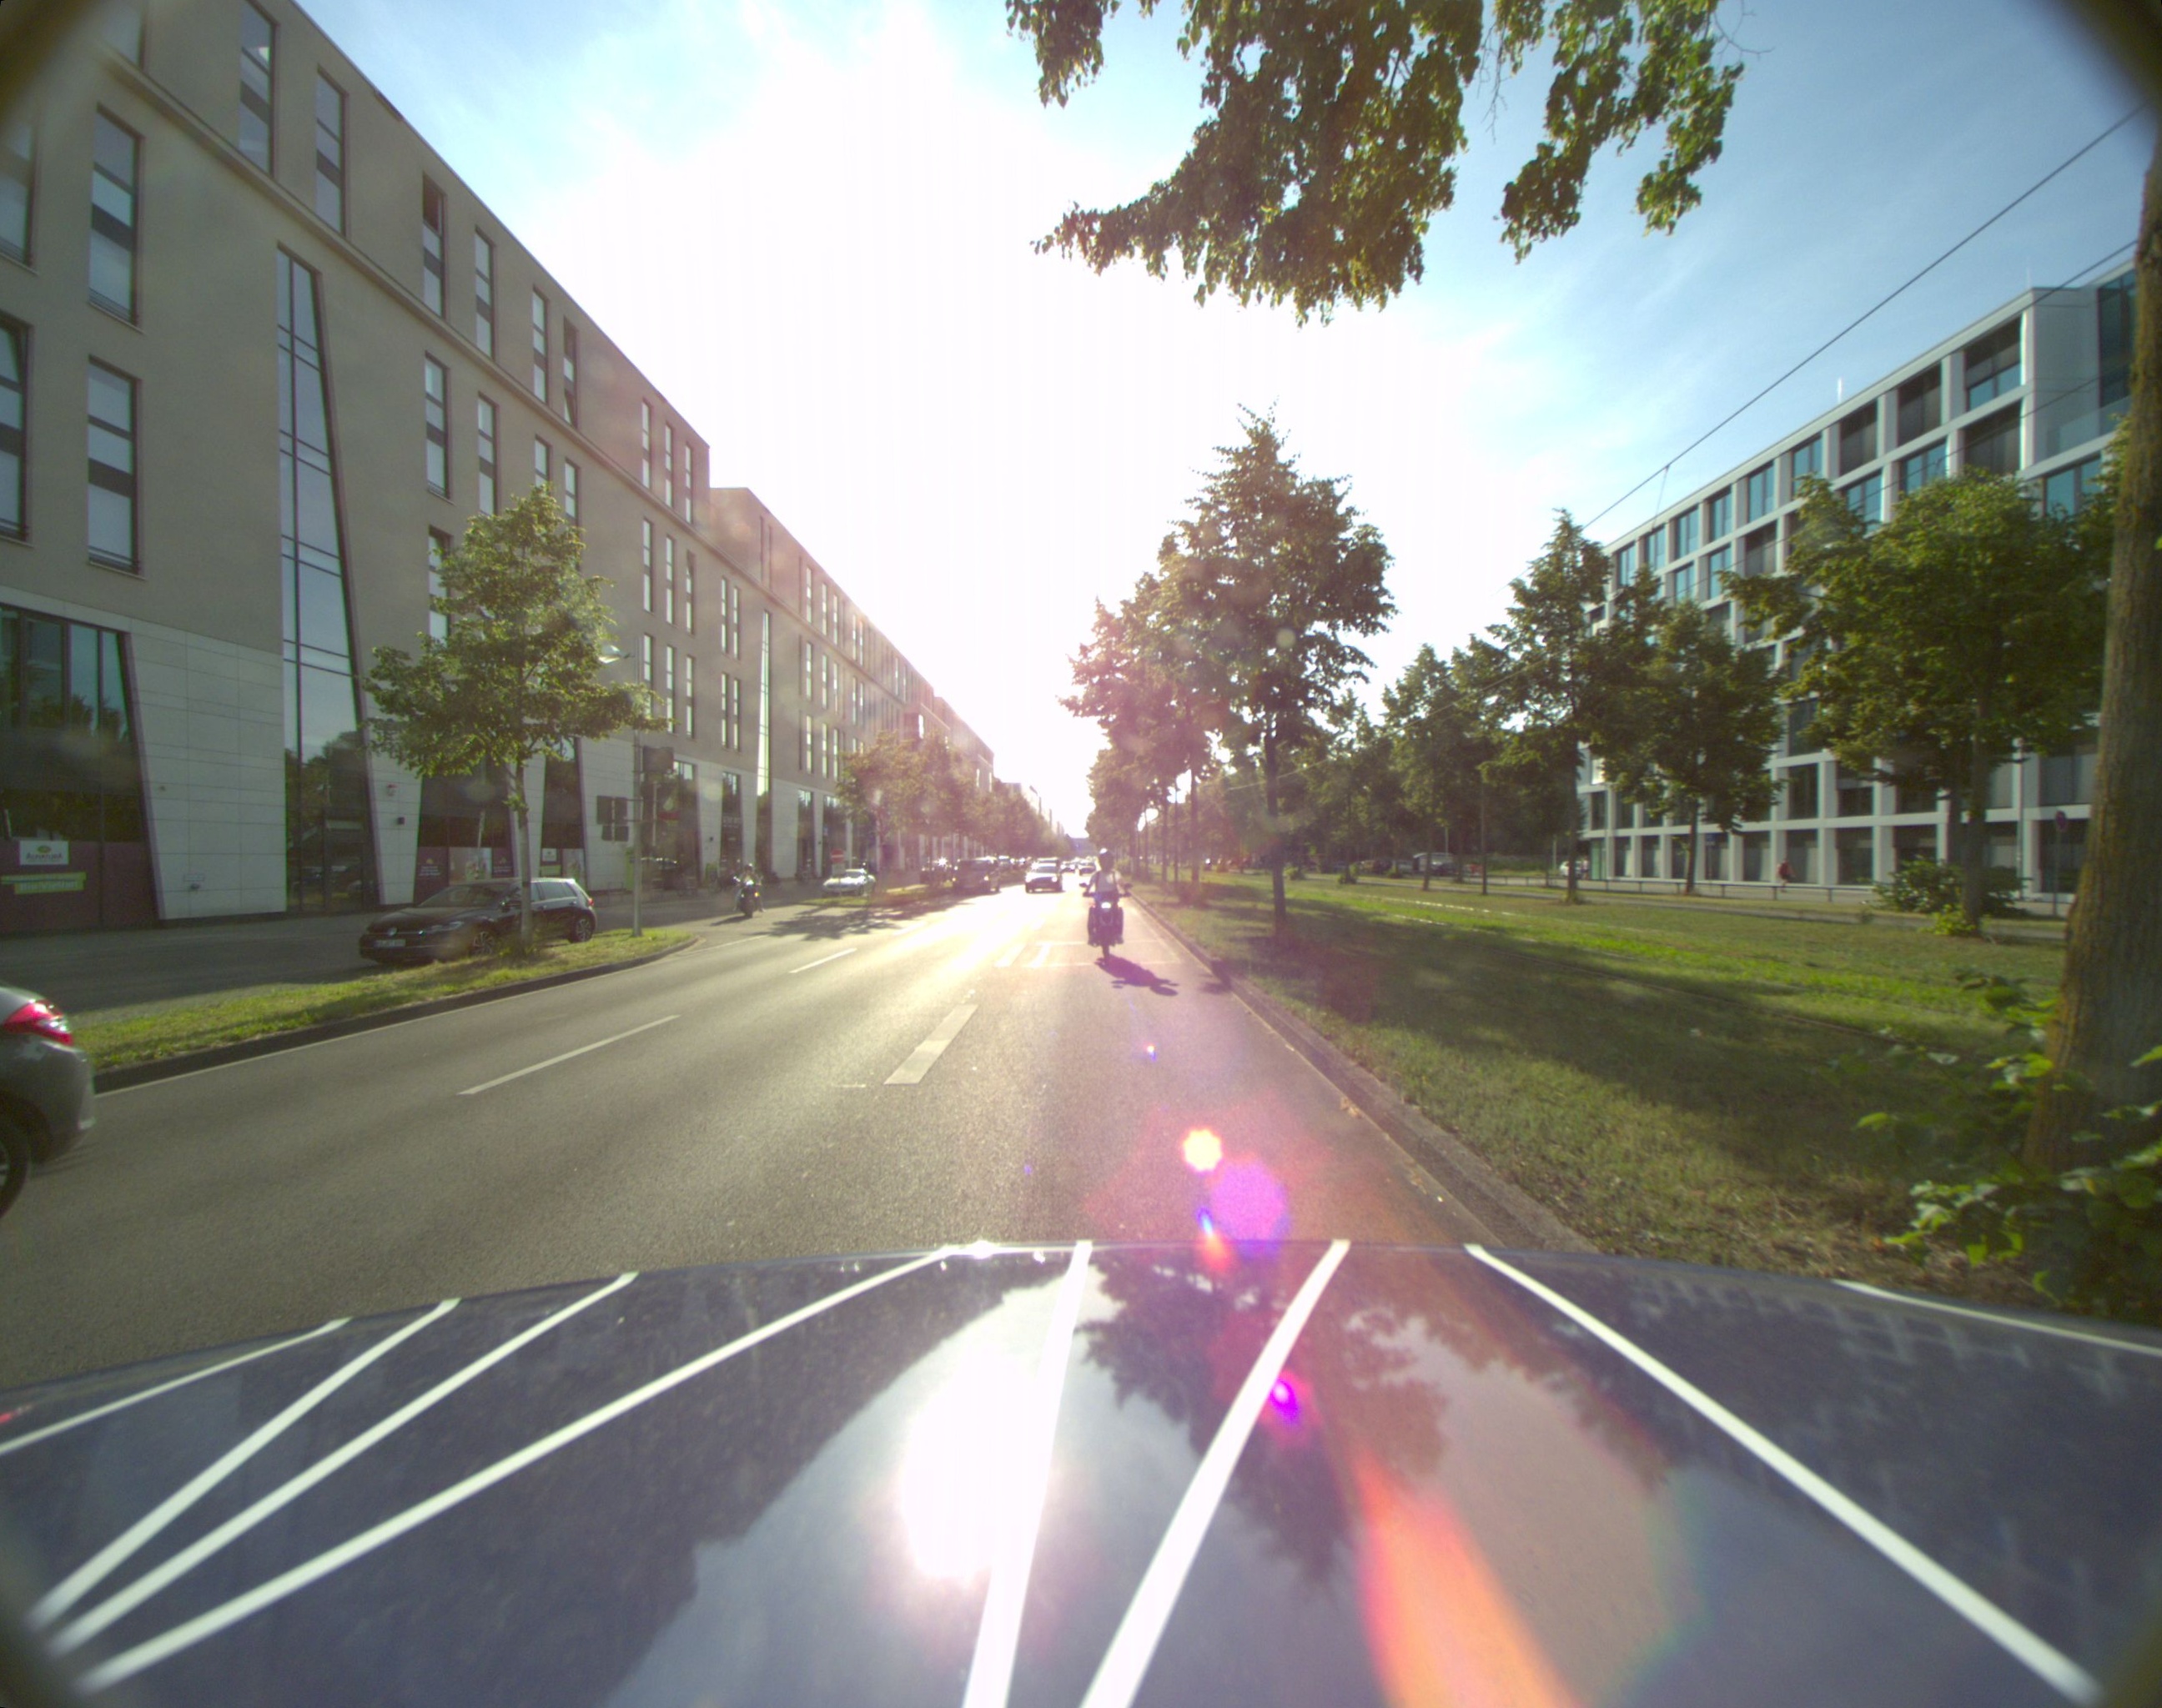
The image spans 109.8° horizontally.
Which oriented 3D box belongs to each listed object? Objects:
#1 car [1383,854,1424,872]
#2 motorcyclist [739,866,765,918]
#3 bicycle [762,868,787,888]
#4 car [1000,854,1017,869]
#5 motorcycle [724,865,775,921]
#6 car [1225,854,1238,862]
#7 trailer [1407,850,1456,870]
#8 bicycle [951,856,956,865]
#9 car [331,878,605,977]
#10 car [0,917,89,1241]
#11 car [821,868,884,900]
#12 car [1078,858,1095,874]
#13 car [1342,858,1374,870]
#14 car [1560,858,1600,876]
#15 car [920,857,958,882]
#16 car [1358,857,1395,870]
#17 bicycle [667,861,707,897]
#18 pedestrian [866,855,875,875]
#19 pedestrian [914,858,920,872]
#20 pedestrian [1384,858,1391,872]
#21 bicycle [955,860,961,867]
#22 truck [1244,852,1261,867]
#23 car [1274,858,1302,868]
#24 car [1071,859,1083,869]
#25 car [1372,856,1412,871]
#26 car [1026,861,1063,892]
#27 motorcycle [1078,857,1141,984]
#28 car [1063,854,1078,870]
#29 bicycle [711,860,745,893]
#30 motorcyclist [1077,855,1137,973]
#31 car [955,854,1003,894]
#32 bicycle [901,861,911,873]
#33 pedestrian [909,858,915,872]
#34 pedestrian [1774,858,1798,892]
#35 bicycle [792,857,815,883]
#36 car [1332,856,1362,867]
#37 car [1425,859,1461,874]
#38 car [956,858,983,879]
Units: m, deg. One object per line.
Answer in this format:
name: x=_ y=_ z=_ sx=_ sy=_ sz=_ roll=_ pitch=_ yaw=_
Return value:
car: x=36.976 y=1.040 z=87.211 sx=4.002 sy=1.936 sz=1.758 roll=-2 pitch=1 yaw=2
motorcyclist: x=-10.515 y=1.199 z=24.281 sx=0.625 sy=1.631 sz=0.417 roll=0 pitch=1 yaw=-3
bicycle: x=-17.768 y=1.390 z=44.107 sx=0.635 sy=1.077 sz=1.904 roll=0 pitch=0 yaw=2
car: x=-9.489 y=0.940 z=100.052 sx=1.842 sy=1.865 sz=5.030 roll=-2 pitch=1 yaw=-1
motorcycle: x=-10.453 y=1.194 z=24.064 sx=0.703 sy=1.608 sz=2.011 roll=-2 pitch=1 yaw=-1
car: x=29.540 y=0.780 z=149.251 sx=1.834 sy=1.423 sz=4.475 roll=-2 pitch=1 yaw=2
trailer: x=37.588 y=0.648 z=81.466 sx=4.373 sy=2.042 sz=1.758 roll=-2 pitch=1 yaw=4
bicycle: x=-16.689 y=0.851 z=99.470 sx=0.345 sy=1.075 sz=1.732 roll=3 pitch=1 yaw=2
car: x=-11.132 y=1.249 z=14.257 sx=1.610 sy=1.362 sz=4.157 roll=-2 pitch=1 yaw=2
car: x=-5.640 y=1.058 z=1.632 sx=1.699 sy=1.416 sz=4.038 roll=-2 pitch=1 yaw=-1
car: x=-10.635 y=1.358 z=35.569 sx=1.712 sy=1.235 sz=3.905 roll=-2 pitch=1 yaw=0
car: x=0.587 y=1.201 z=79.749 sx=1.739 sy=1.499 sz=4.000 roll=-2 pitch=1 yaw=1
car: x=37.415 y=1.348 z=102.810 sx=3.655 sy=1.420 sz=1.810 roll=-2 pitch=1 yaw=3
car: x=47.678 y=1.208 z=72.632 sx=1.851 sy=1.586 sz=4.003 roll=-2 pitch=1 yaw=12
car: x=-10.377 y=1.119 z=55.924 sx=1.902 sy=1.698 sz=4.678 roll=-2 pitch=0 yaw=-1
car: x=37.934 y=1.241 z=97.614 sx=3.996 sy=1.551 sz=1.856 roll=-2 pitch=1 yaw=3
bicycle: x=-18.106 y=1.117 z=34.973 sx=0.557 sy=1.562 sz=2.276 roll=-2 pitch=1 yaw=2
pedestrian: x=-18.539 y=0.954 z=66.947 sx=0.538 sy=1.752 sz=0.646 roll=-2 pitch=1 yaw=1
pedestrian: x=-18.726 y=1.275 z=86.748 sx=0.540 sy=1.565 sz=0.514 roll=-2 pitch=1 yaw=-14
pedestrian: x=35.313 y=1.265 z=87.555 sx=0.523 sy=1.472 sz=0.568 roll=-2 pitch=1 yaw=0
bicycle: x=-16.725 y=1.273 z=103.140 sx=0.419 sy=0.995 sz=2.044 roll=3 pitch=1 yaw=2
truck: x=40.768 y=1.264 z=181.273 sx=2.894 sy=3.495 sz=7.946 roll=-2 pitch=1 yaw=6
car: x=31.205 y=1.407 z=114.556 sx=1.690 sy=1.427 sz=4.025 roll=-3 pitch=1 yaw=-33
car: x=-0.672 y=1.730 z=126.792 sx=1.840 sy=1.521 sz=4.328 roll=-2 pitch=1 yaw=1
car: x=37.009 y=1.129 z=90.360 sx=4.002 sy=1.633 sz=1.758 roll=-2 pitch=1 yaw=2
car: x=-1.891 y=1.154 z=39.845 sx=1.756 sy=1.427 sz=4.034 roll=-2 pitch=1 yaw=-2
motorcycle: x=0.382 y=0.898 z=11.575 sx=0.798 sy=1.659 sz=2.634 roll=-2 pitch=1 yaw=0
car: x=-1.235 y=0.981 z=94.664 sx=1.777 sy=1.805 sz=3.999 roll=-2 pitch=1 yaw=0
bicycle: x=-17.838 y=1.101 z=38.479 sx=0.557 sy=1.558 sz=2.212 roll=-2 pitch=1 yaw=2
motorcyclist: x=0.382 y=0.884 z=11.591 sx=0.814 sy=1.699 sz=0.843 roll=-2 pitch=1 yaw=0
car: x=-5.375 y=0.995 z=40.553 sx=1.803 sy=1.880 sz=4.821 roll=-2 pitch=1 yaw=1
bicycle: x=-17.003 y=1.278 z=73.679 sx=0.493 sy=1.109 sz=1.945 roll=0 pitch=1 yaw=1
pedestrian: x=-19.329 y=1.255 z=86.754 sx=0.515 sy=1.513 sz=0.597 roll=-2 pitch=1 yaw=1
pedestrian: x=36.828 y=1.092 z=39.688 sx=0.569 sy=1.718 sz=0.691 roll=-2 pitch=1 yaw=1
bicycle: x=-17.866 y=1.012 z=49.024 sx=0.557 sy=1.609 sz=2.212 roll=-2 pitch=1 yaw=2
car: x=38.530 y=1.129 z=110.013 sx=3.865 sy=1.477 sz=1.744 roll=-2 pitch=1 yaw=9
car: x=36.854 y=1.215 z=77.491 sx=1.684 sy=1.385 sz=3.760 roll=-2 pitch=1 yaw=-2
car: x=-10.032 y=1.315 z=68.825 sx=1.832 sy=1.702 sz=4.295 roll=-2 pitch=1 yaw=-1
